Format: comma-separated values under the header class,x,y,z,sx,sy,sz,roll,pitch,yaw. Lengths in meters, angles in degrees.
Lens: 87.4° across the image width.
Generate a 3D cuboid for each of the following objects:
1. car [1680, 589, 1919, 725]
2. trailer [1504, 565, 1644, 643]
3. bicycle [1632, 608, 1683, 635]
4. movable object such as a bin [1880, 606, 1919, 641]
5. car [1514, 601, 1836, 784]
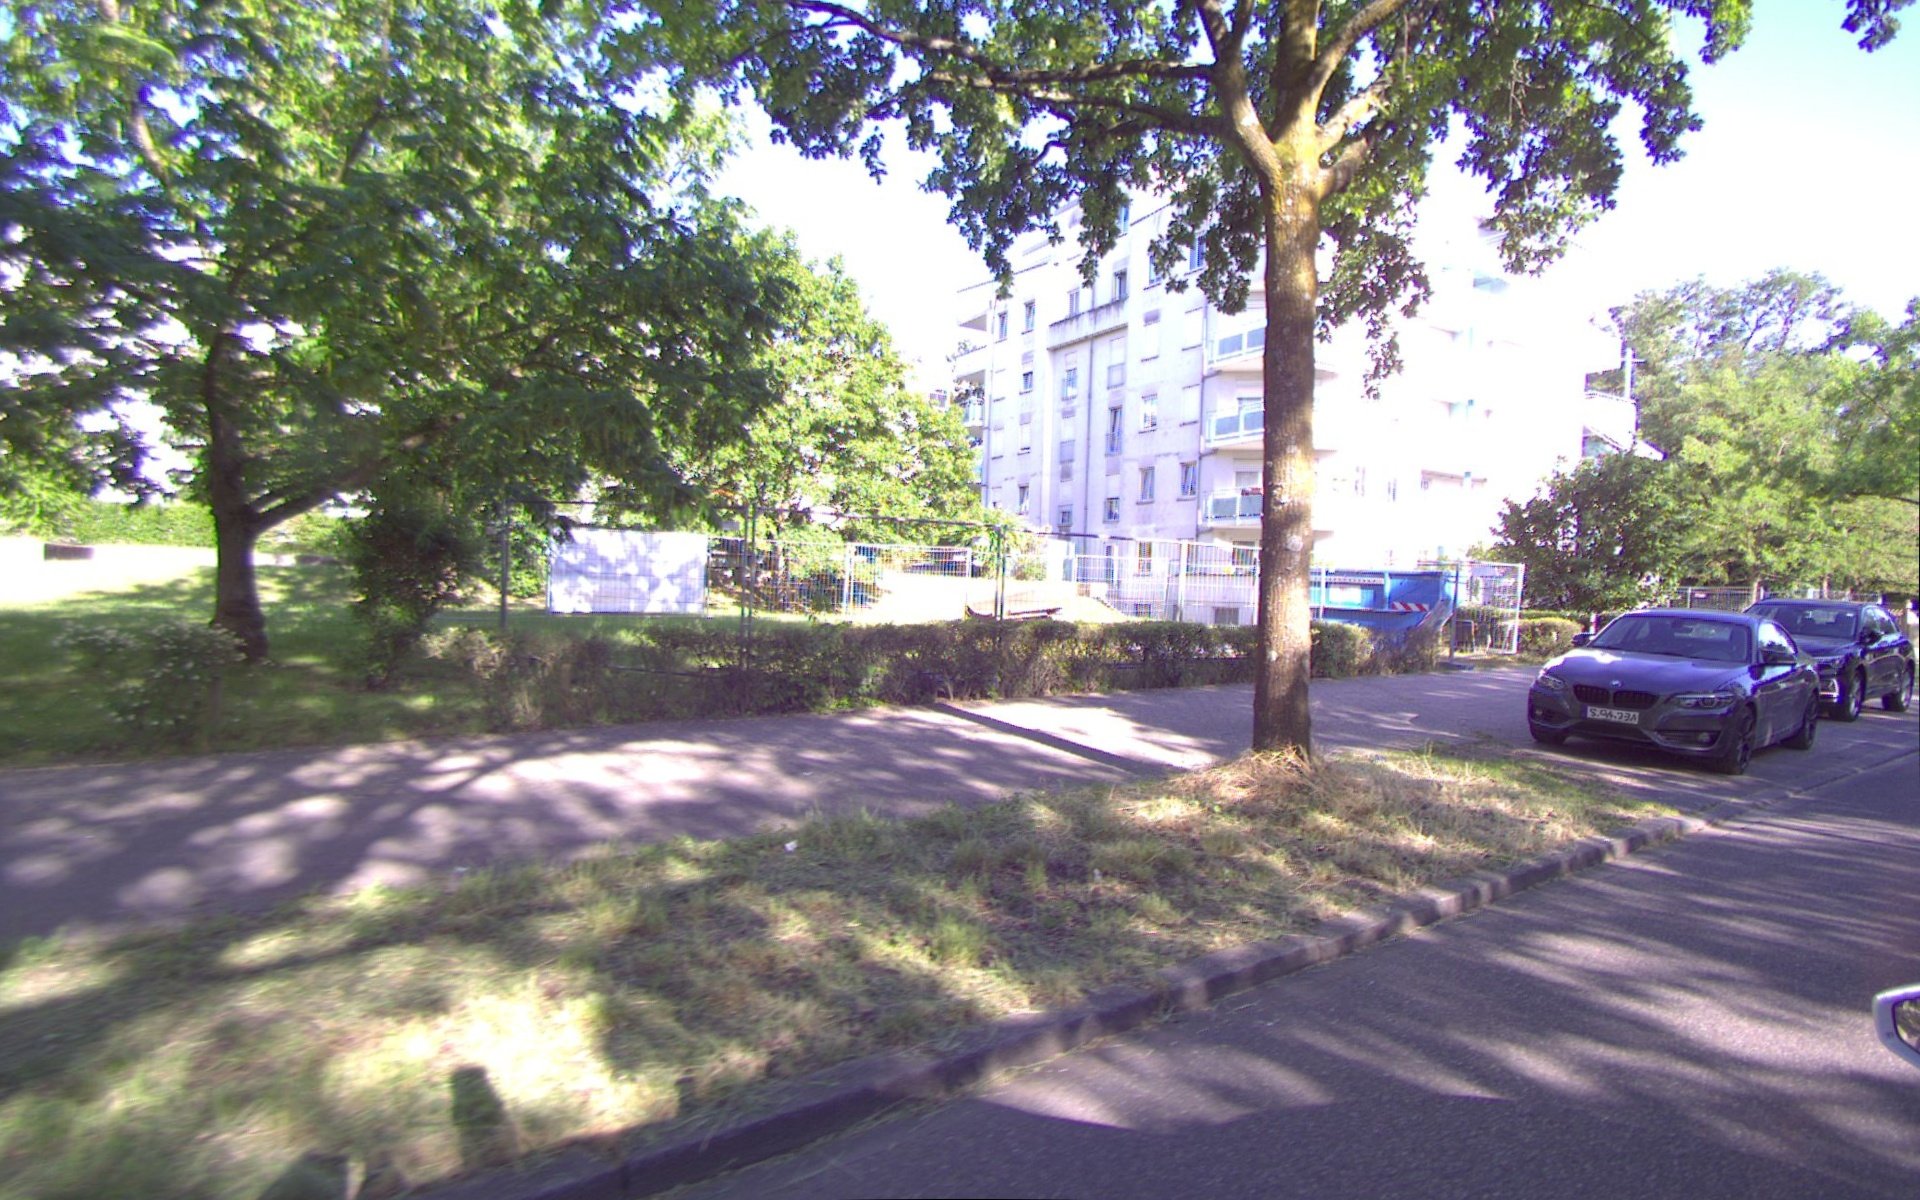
class,x,y,z,sx,sy,sz,roll,pitch,yaw
car,12.435,0.749,14.754,4.180,1.643,1.762,1,3,-37
trailer,18.735,0.123,30.627,4.299,2.149,1.853,1,3,-33
bicycle,28.424,0.872,40.956,0.396,1.040,1.687,2,1,-30
movable object such as a bin,40.313,1.001,42.843,1.122,1.455,1.273,2,1,21
car,7.570,0.802,10.495,4.103,1.452,1.701,1,3,-40
